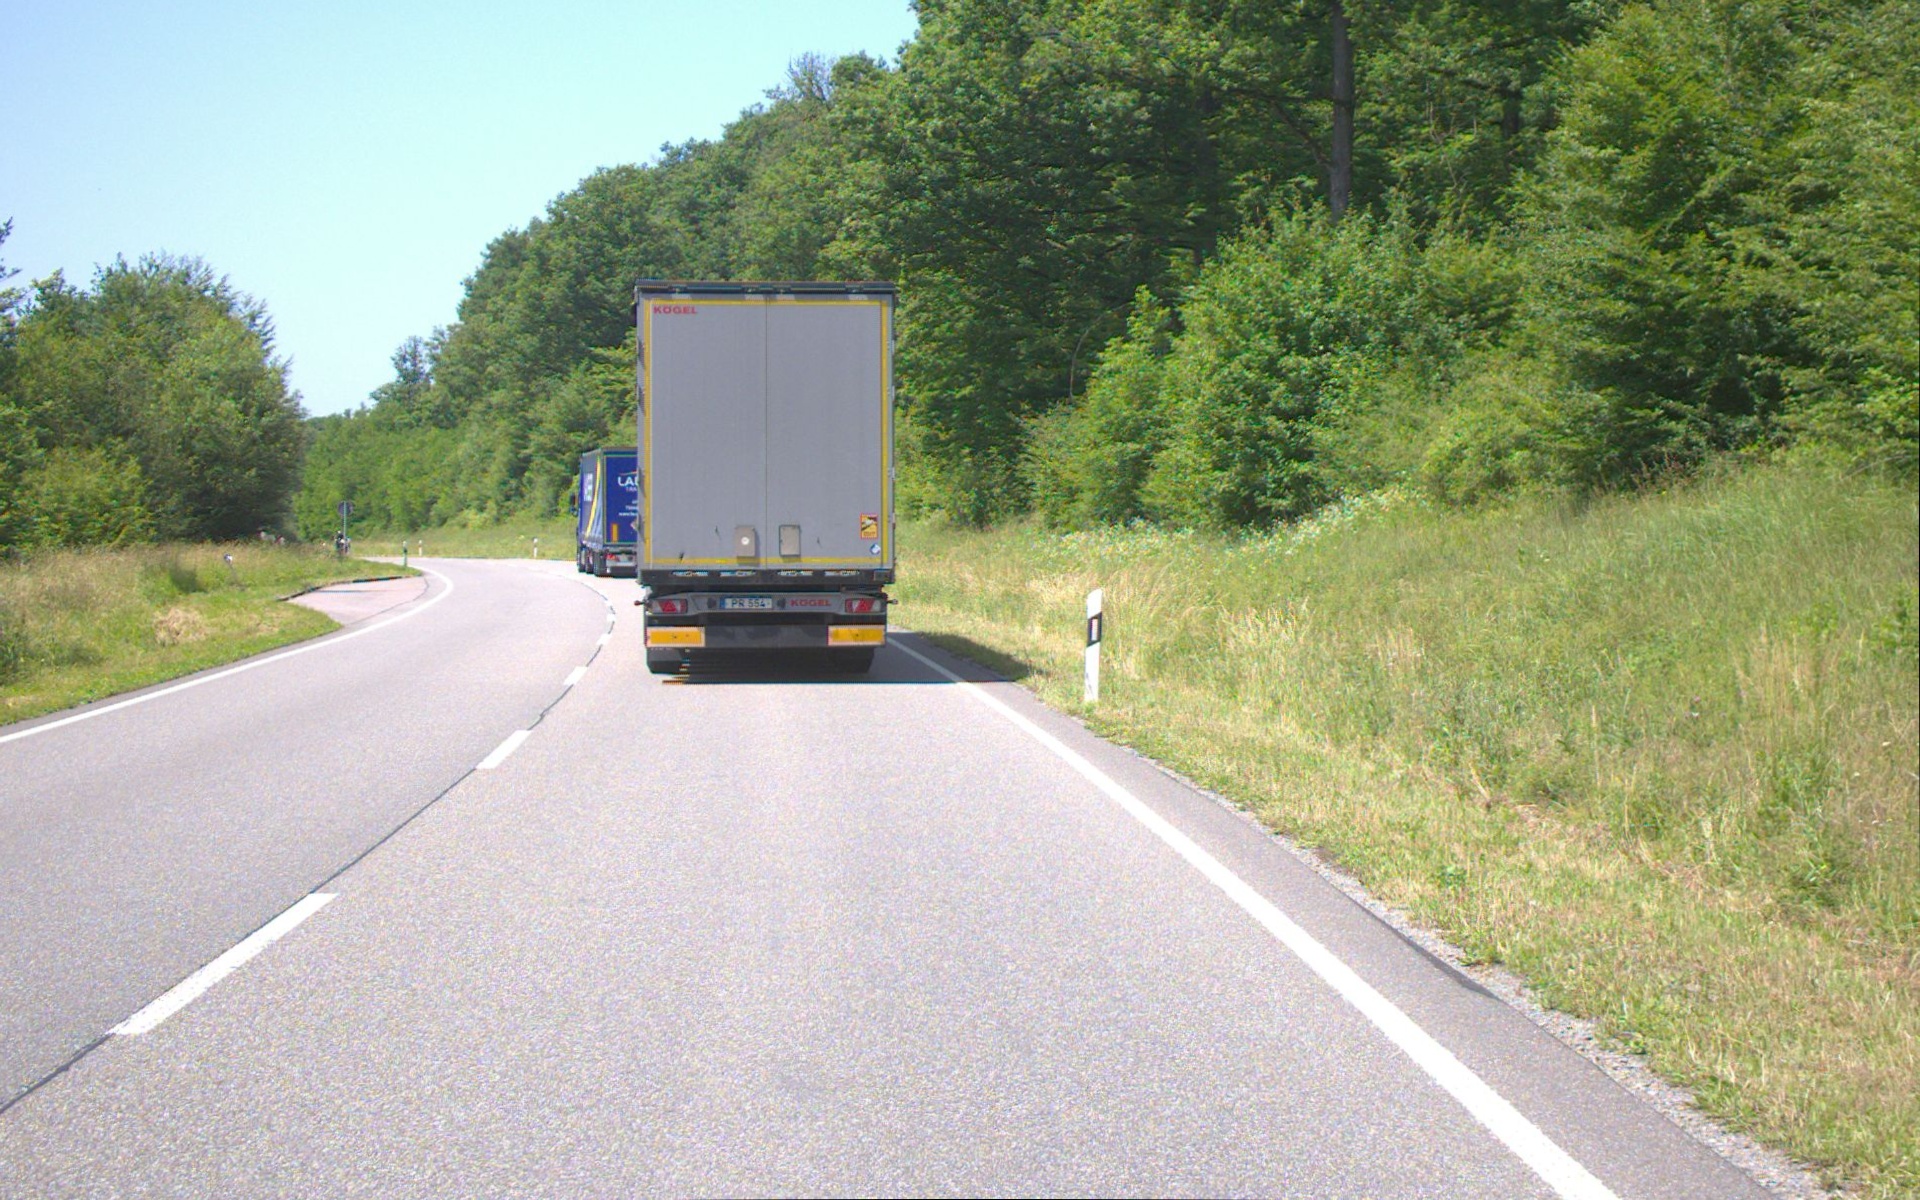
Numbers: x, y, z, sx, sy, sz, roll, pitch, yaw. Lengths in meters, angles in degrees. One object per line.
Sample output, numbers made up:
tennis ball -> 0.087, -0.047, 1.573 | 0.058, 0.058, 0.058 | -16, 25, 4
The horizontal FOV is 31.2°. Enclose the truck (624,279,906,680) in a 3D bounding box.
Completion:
truck -> -2.324, -1.306, 39.887 | 2.761, 3.933, 12.200 | 0, 1, -4

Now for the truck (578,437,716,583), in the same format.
truck -> -10.323, -2.886, 111.743 | 3.792, 4.358, 14.924 | 1, 1, -8
